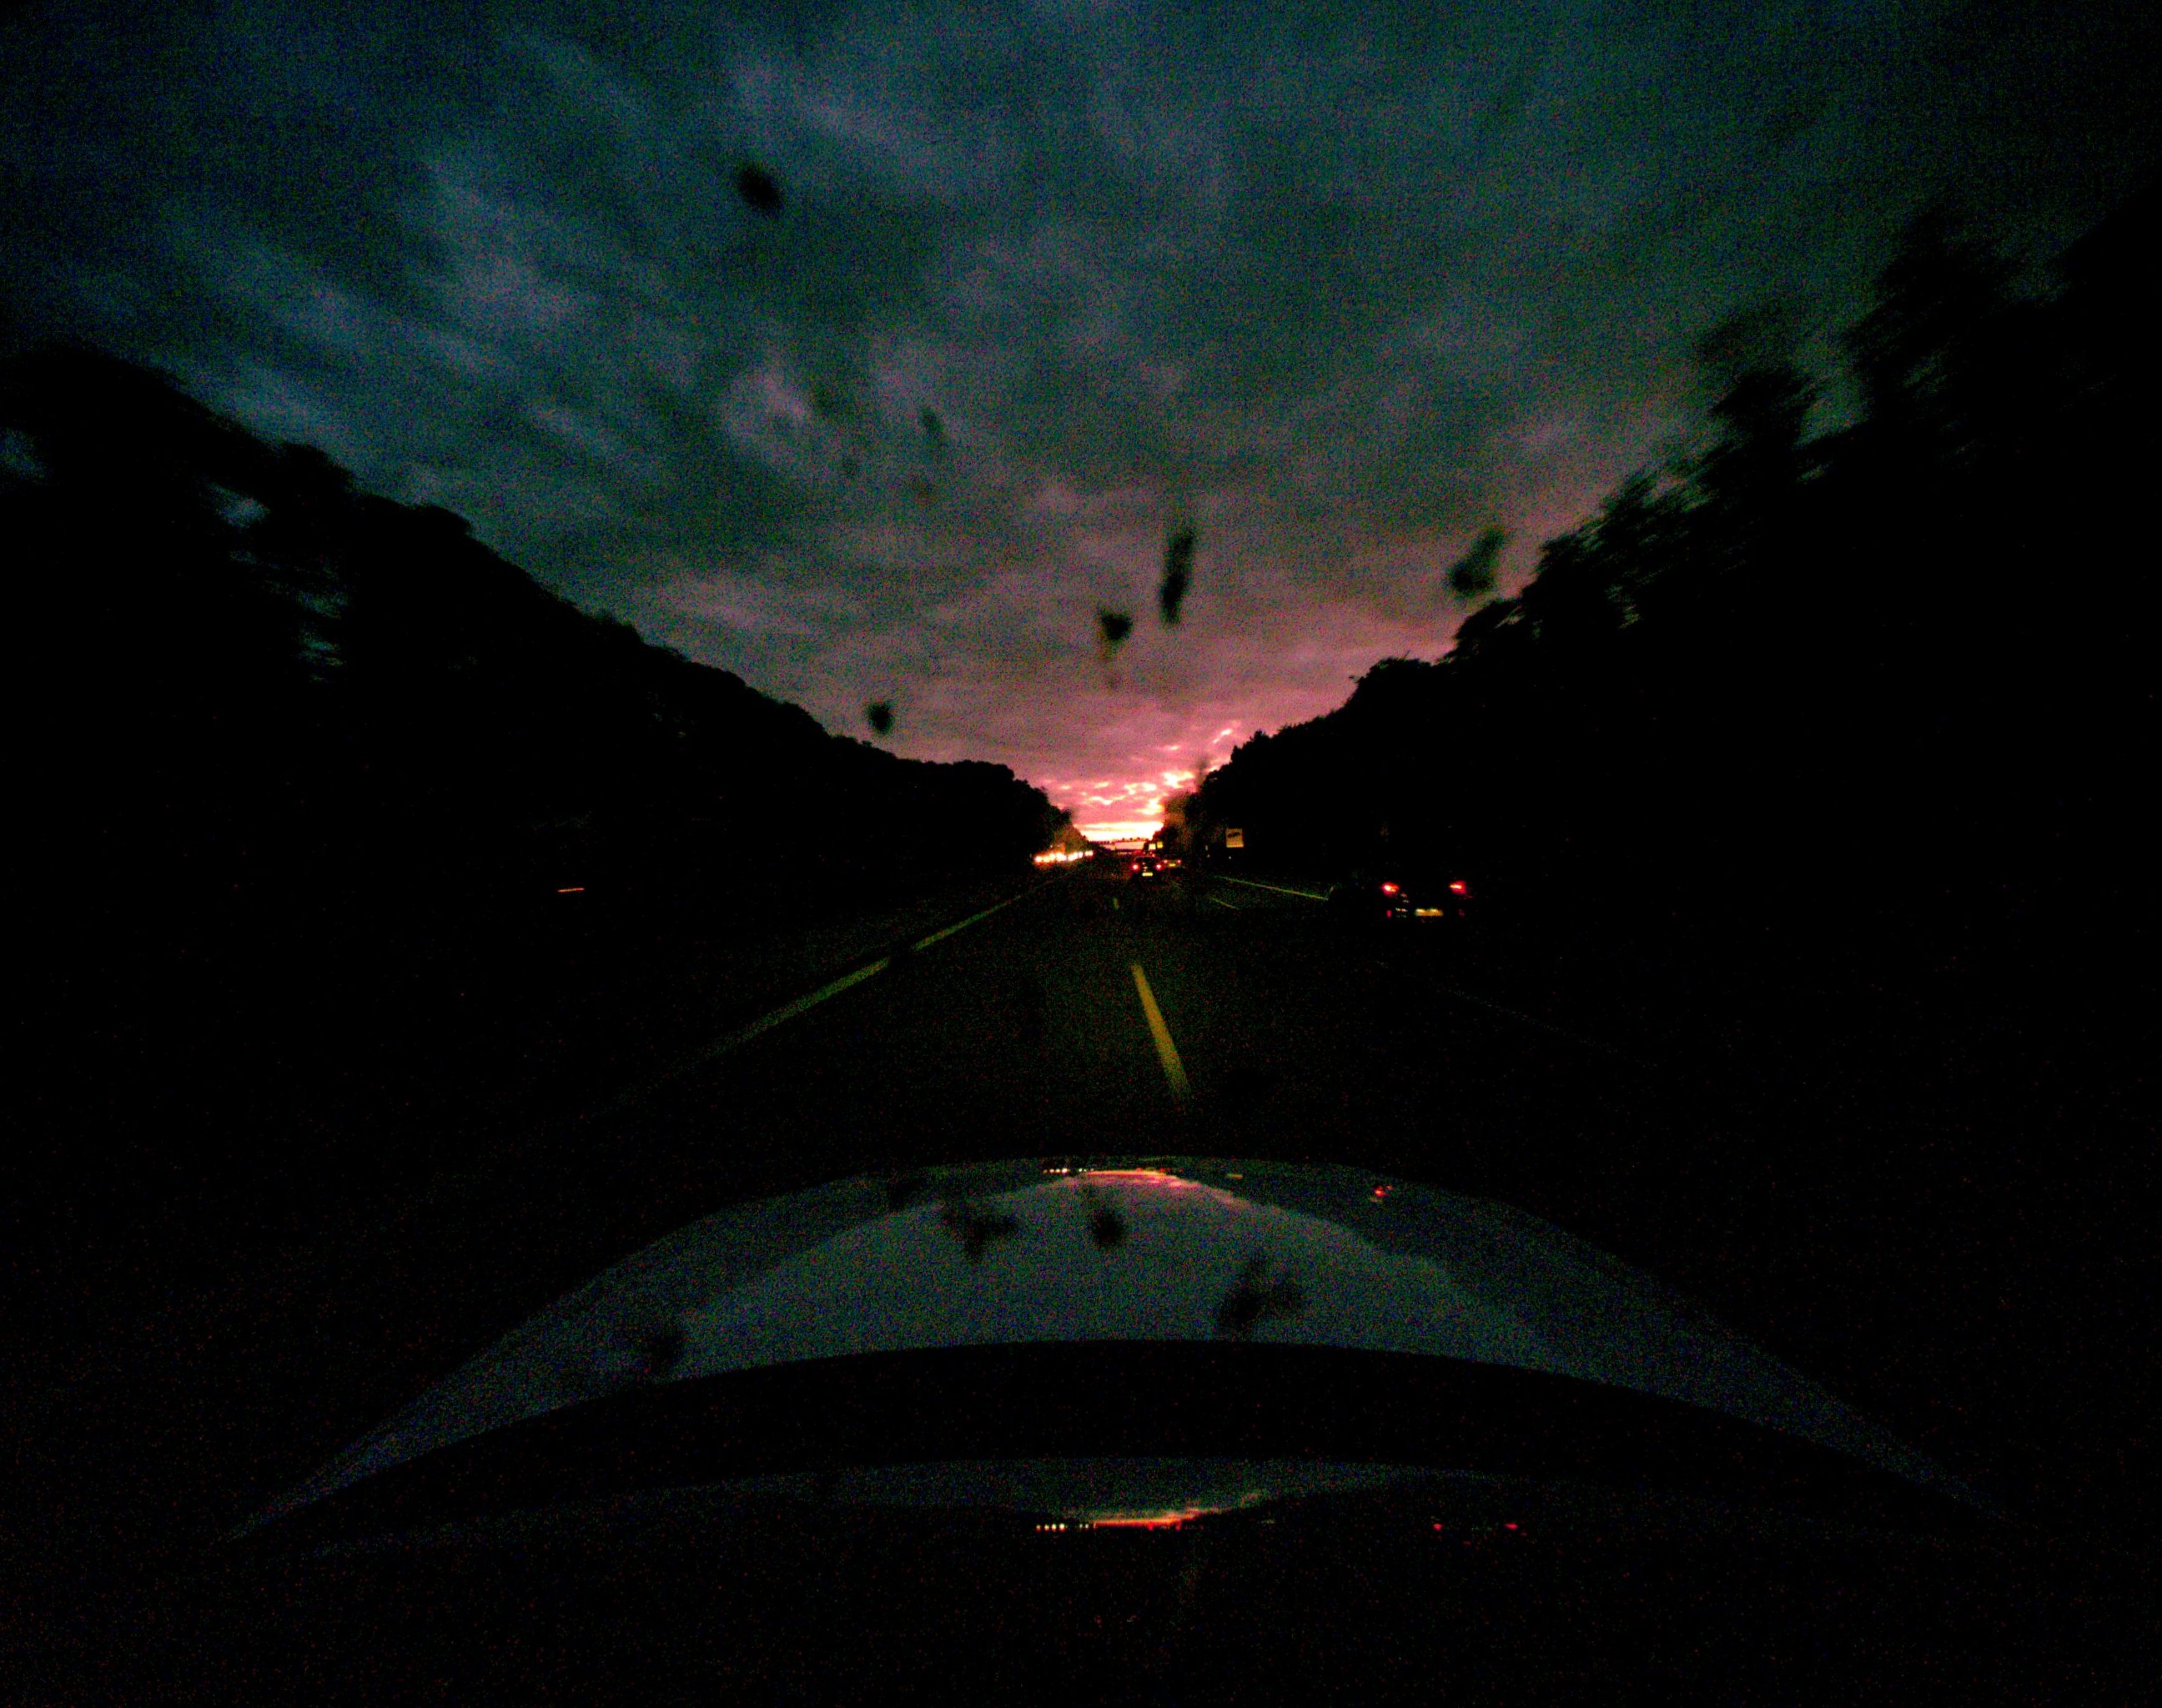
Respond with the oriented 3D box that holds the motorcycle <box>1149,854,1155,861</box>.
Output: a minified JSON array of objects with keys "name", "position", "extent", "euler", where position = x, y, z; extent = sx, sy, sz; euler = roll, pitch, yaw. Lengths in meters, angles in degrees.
[{"name":"motorcycle","position":[11.760,0.524,134.871],"extent":[0.826,1.134,2.478],"euler":[-2,-1,3]}]

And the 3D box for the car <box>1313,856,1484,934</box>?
[{"name":"car","position":[6.495,0.765,17.268],"extent":[1.859,1.436,4.583],"euler":[0,0,0]}]

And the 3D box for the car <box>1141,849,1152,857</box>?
[{"name":"car","position":[13.213,-0.119,164.163],"extent":[1.860,1.494,4.396],"euler":[0,-1,-1]}]

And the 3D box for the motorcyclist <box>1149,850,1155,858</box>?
[{"name":"motorcyclist","position":[11.739,-0.059,134.811],"extent":[0.826,1.291,1.191],"euler":[-2,-1,3]}]

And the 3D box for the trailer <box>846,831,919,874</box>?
[{"name":"trailer","position":[-20.495,-0.084,85.341],"extent":[3.176,4.105,14.199],"euler":[-1,0,4]}]

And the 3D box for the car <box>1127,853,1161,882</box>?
[{"name":"car","position":[3.479,0.756,45.596],"extent":[1.697,1.509,4.233],"euler":[0,-1,2]}]

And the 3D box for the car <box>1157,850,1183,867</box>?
[{"name":"car","position":[8.212,0.446,75.566],"extent":[1.820,1.476,4.396],"euler":[0,-1,-1]}]

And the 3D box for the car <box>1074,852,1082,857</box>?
[{"name":"car","position":[-0.947,0.232,236.027],"extent":[1.902,1.451,5.360],"euler":[-1,0,4]}]

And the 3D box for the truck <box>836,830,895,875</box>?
[{"name":"truck","position":[-20.907,-0.140,79.597],"extent":[3.177,4.105,7.698],"euler":[-1,0,4]}]

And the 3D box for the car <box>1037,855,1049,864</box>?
[{"name":"car","position":[-6.465,0.906,138.783],"extent":[1.679,1.515,4.418],"euler":[-1,0,3]}]

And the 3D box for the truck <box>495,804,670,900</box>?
[{"name":"truck","position":[-23.384,-0.048,38.864],"extent":[3.177,4.105,7.698],"euler":[-1,0,4]}]

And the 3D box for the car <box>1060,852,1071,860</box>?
[{"name":"car","position":[-2.779,0.374,150.000],"extent":[1.843,1.381,4.645],"euler":[-1,0,1]}]

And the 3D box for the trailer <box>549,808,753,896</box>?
[{"name":"trailer","position":[-22.950,-0.056,45.093],"extent":[3.177,4.105,13.753],"euler":[-1,0,4]}]

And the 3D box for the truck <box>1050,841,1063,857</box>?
[{"name":"truck","position":[-6.378,-1.262,213.754],"extent":[2.636,3.971,7.128],"euler":[-1,0,3]}]
